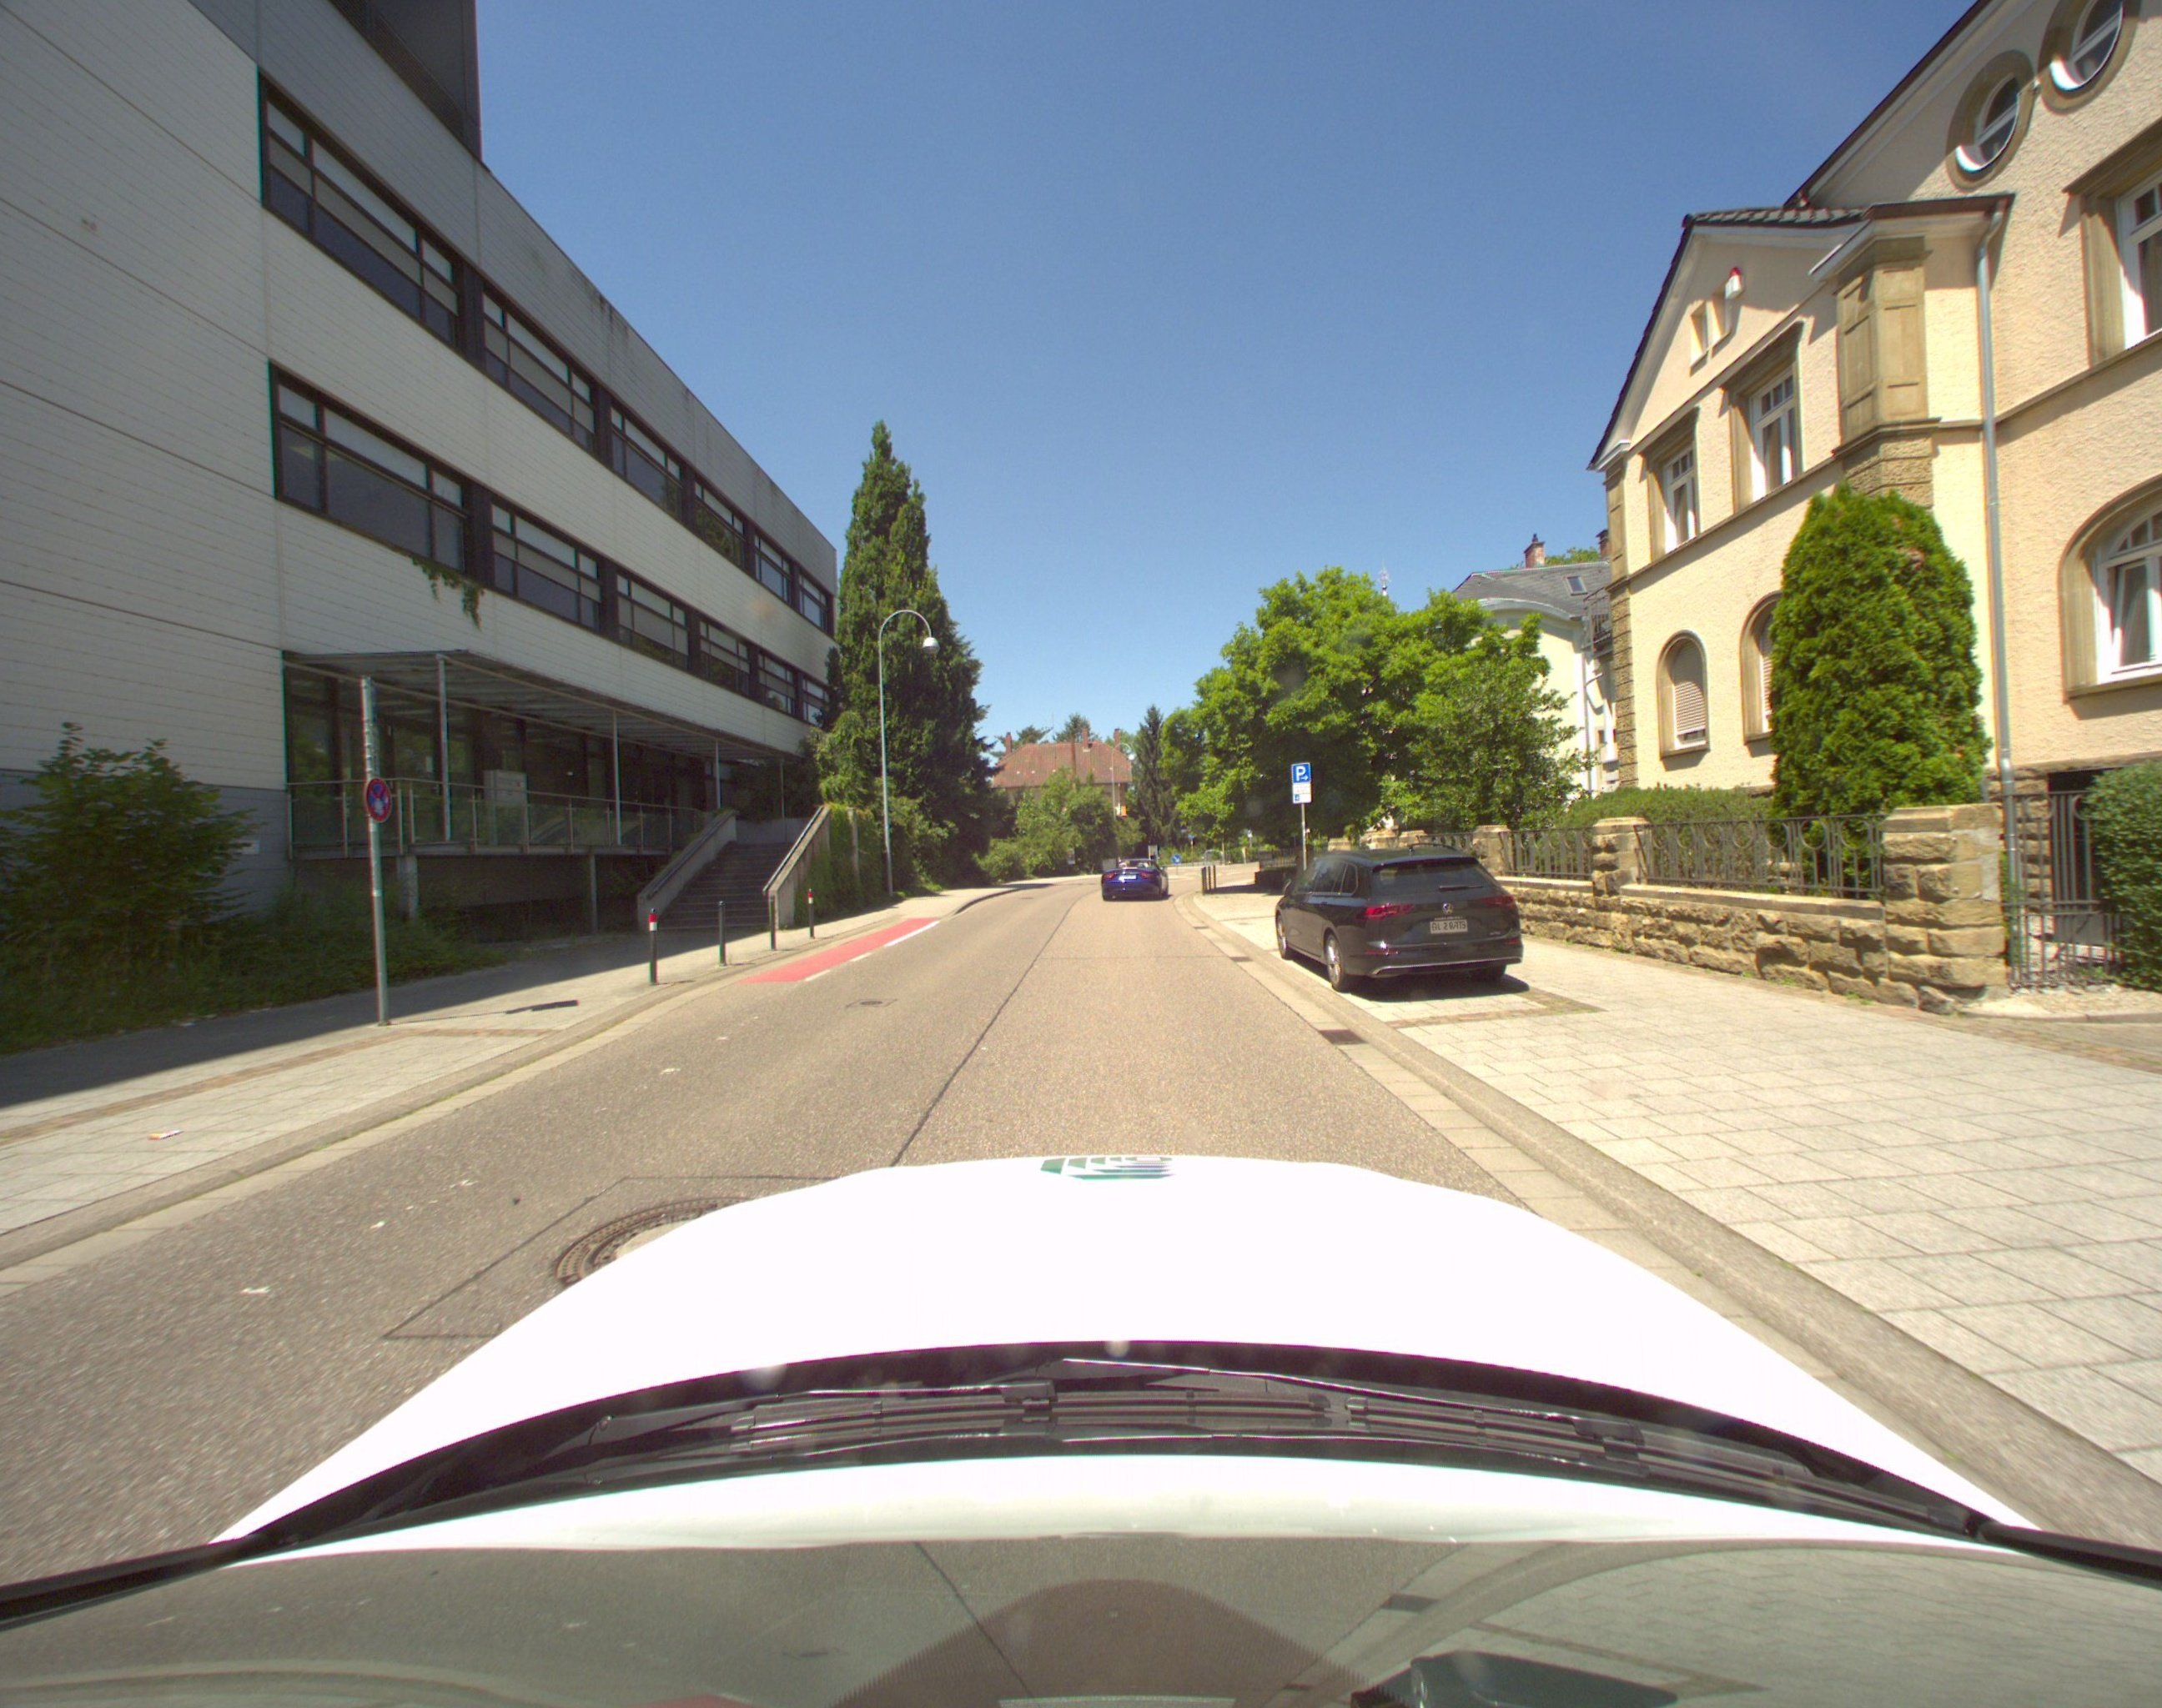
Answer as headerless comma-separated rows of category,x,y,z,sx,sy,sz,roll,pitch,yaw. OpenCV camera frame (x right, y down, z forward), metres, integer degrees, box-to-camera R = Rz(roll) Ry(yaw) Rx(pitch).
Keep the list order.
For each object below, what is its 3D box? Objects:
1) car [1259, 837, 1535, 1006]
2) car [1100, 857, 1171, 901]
car,3.431,0.629,9.798,1.625,1.446,4.399,-5,0,2
car,1.951,0.787,27.650,1.815,1.337,4.714,-1,0,11
